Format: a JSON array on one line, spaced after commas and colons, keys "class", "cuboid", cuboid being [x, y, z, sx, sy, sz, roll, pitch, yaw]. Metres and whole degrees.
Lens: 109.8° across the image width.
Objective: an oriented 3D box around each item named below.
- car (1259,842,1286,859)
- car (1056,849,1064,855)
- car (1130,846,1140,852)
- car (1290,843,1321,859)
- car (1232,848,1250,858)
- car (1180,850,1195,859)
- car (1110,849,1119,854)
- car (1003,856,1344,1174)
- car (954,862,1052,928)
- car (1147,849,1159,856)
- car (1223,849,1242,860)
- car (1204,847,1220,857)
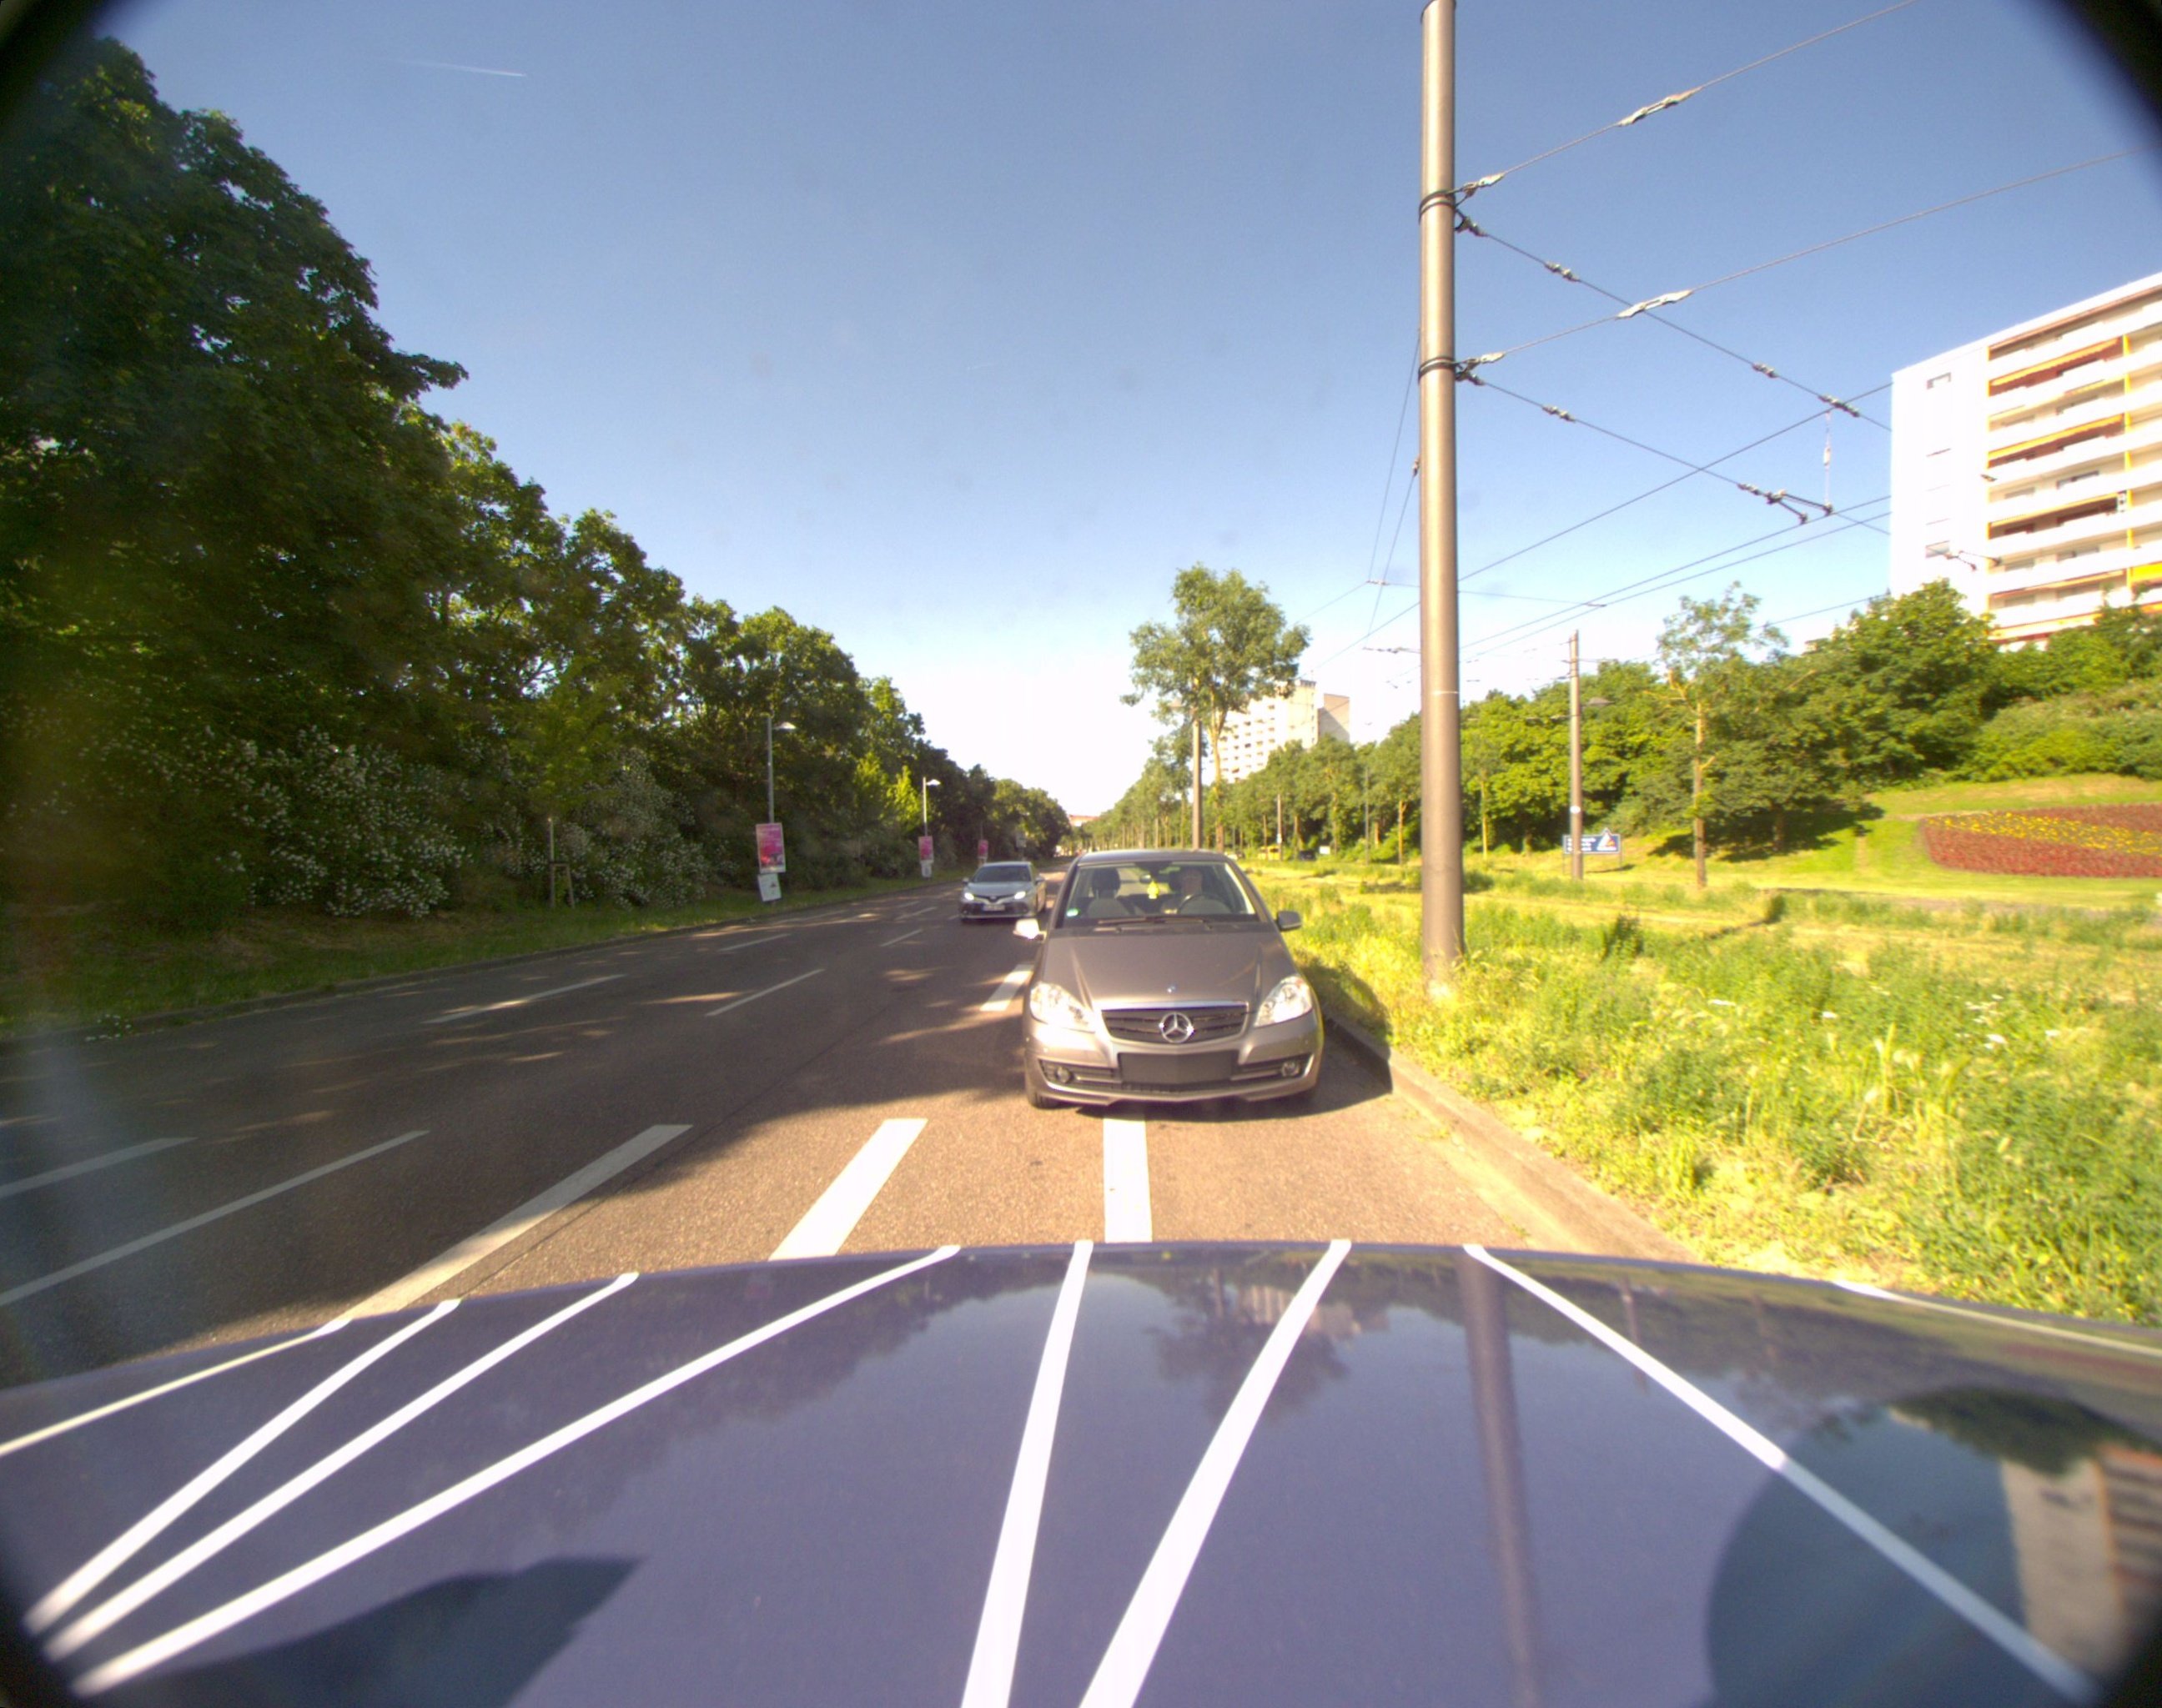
[{"class": "car", "cuboid": [23.026, -0.456, 91.567, 1.998, 1.955, 4.907, -1, 0, 1]}, {"class": "car", "cuboid": [-6.008, -0.646, 218.819, 1.998, 1.702, 4.000, -1, 0, 1]}, {"class": "car", "cuboid": [14.220, -1.255, 201.472, 1.803, 1.455, 3.997, -2, 0, -8]}, {"class": "car", "cuboid": [22.918, -0.287, 77.764, 1.998, 1.565, 4.106, -1, 0, 1]}, {"class": "car", "cuboid": [22.891, -0.153, 108.789, 1.780, 1.368, 4.001, -1, 0, 3]}, {"class": "car", "cuboid": [18.079, 0.089, 129.009, 1.799, 1.408, 4.309, -1, 0, -1]}, {"class": "car", "cuboid": [10.269, -0.811, 231.968, 1.804, 1.455, 3.996, 0, 1, -9]}, {"class": "car", "cuboid": [0.512, 0.854, 5.919, 1.759, 1.612, 3.880, -1, 0, 1]}, {"class": "car", "cuboid": [-1.874, 0.957, 19.650, 1.875, 1.428, 4.594, -1, 0, 2]}, {"class": "car", "cuboid": [15.832, -0.255, 167.565, 1.793, 1.499, 4.238, -1, 0, -6]}, {"class": "car", "cuboid": [20.014, 0.017, 100.371, 1.693, 1.399, 4.021, -1, 0, 1]}, {"class": "car", "cuboid": [21.648, -0.340, 125.551, 1.793, 1.499, 4.240, -1, 0, -1]}]
